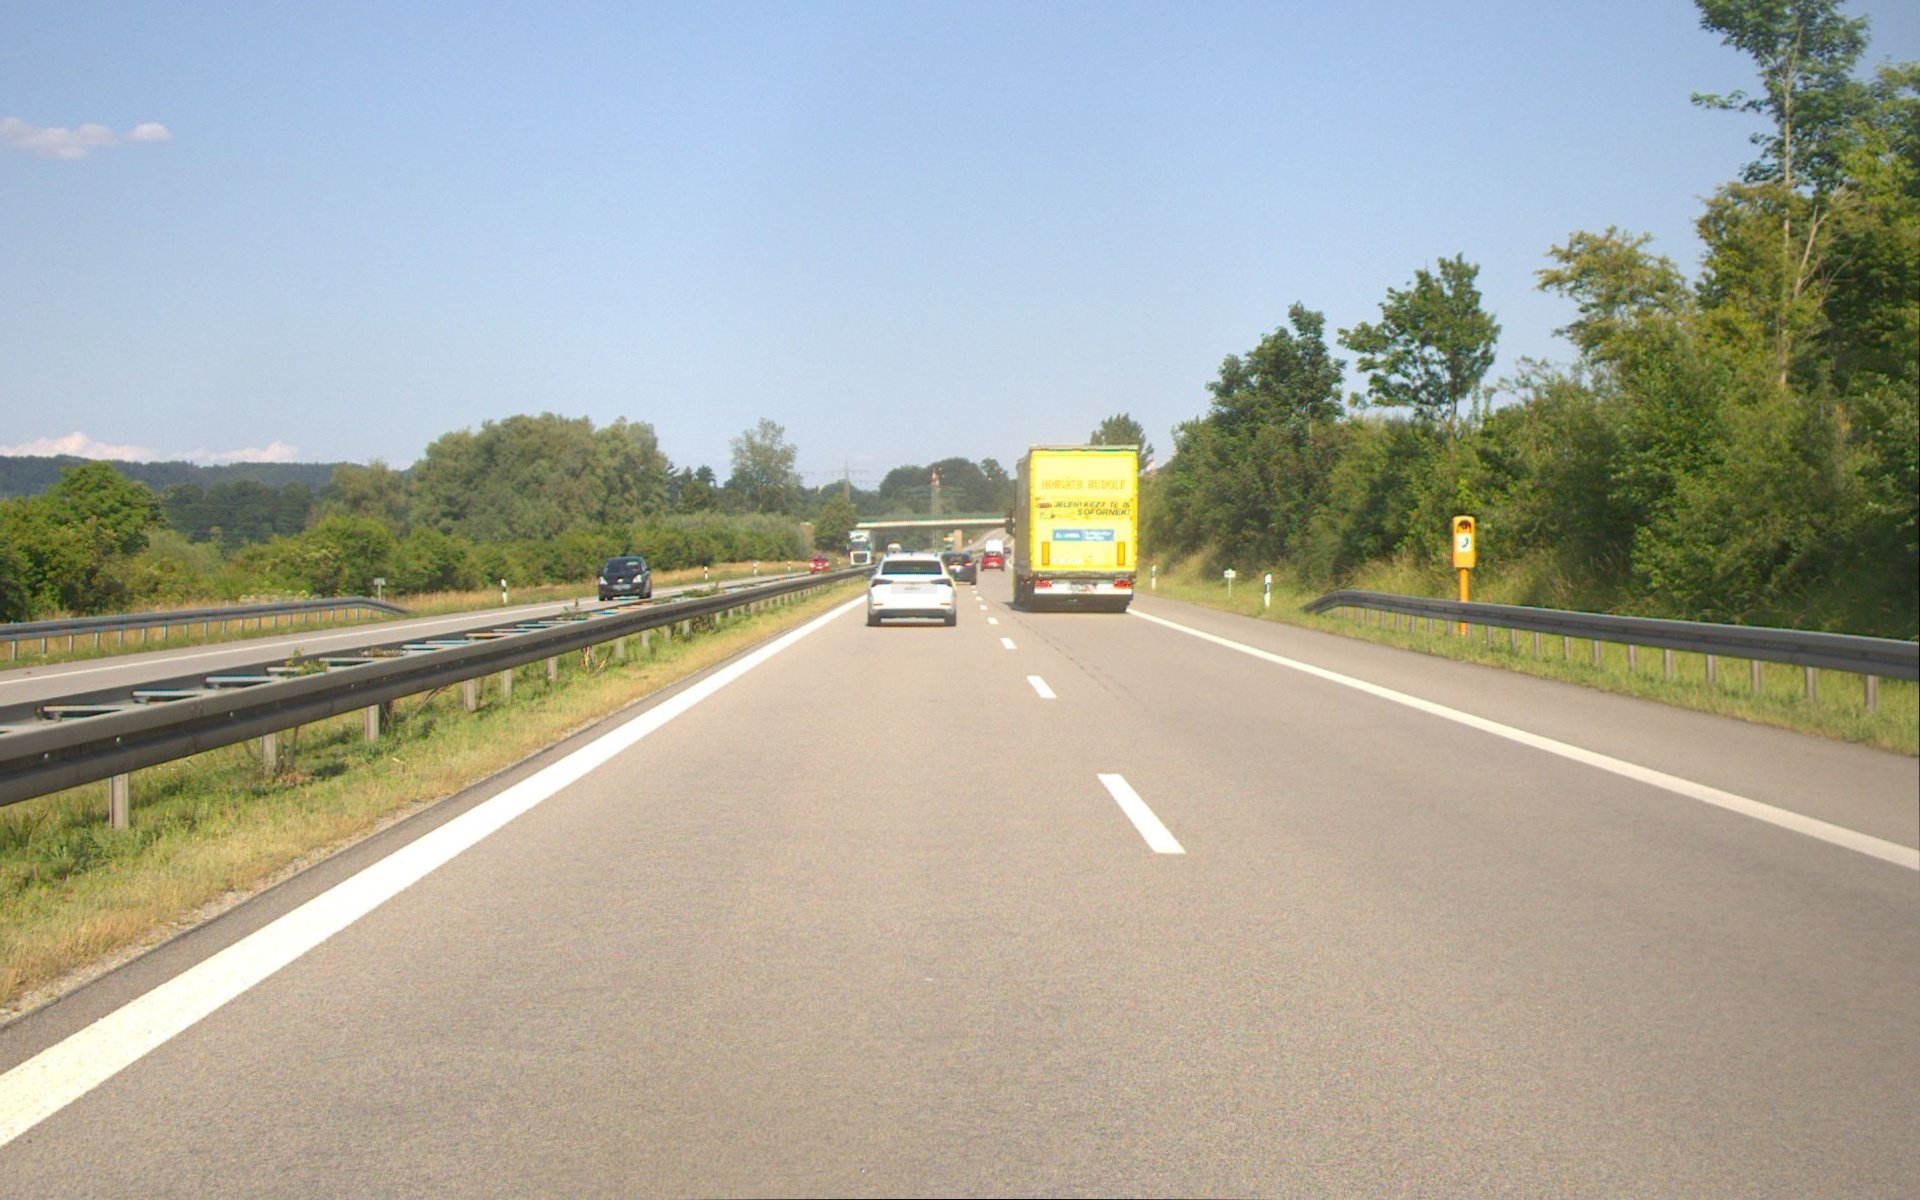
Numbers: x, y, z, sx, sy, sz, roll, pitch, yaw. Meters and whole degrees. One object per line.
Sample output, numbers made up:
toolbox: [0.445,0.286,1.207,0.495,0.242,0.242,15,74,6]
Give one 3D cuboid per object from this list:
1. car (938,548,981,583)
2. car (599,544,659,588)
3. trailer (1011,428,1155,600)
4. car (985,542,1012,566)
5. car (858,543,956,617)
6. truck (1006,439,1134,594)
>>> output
car: [0.006,-1.566,154.249,1.843,1.515,4.000,1,1,1]
car: [-12.598,-1.293,131.030,1.830,1.566,4.656,-2,1,0]
trailer: [3.032,-2.130,88.666,3.184,4.045,13.187,1,1,0]
car: [2.862,-3.469,258.624,1.902,1.677,4.731,2,1,0]
car: [-1.038,-0.407,69.067,1.843,1.411,4.000,1,1,1]
truck: [2.983,-2.277,95.091,3.168,4.100,6.389,1,1,-1]
